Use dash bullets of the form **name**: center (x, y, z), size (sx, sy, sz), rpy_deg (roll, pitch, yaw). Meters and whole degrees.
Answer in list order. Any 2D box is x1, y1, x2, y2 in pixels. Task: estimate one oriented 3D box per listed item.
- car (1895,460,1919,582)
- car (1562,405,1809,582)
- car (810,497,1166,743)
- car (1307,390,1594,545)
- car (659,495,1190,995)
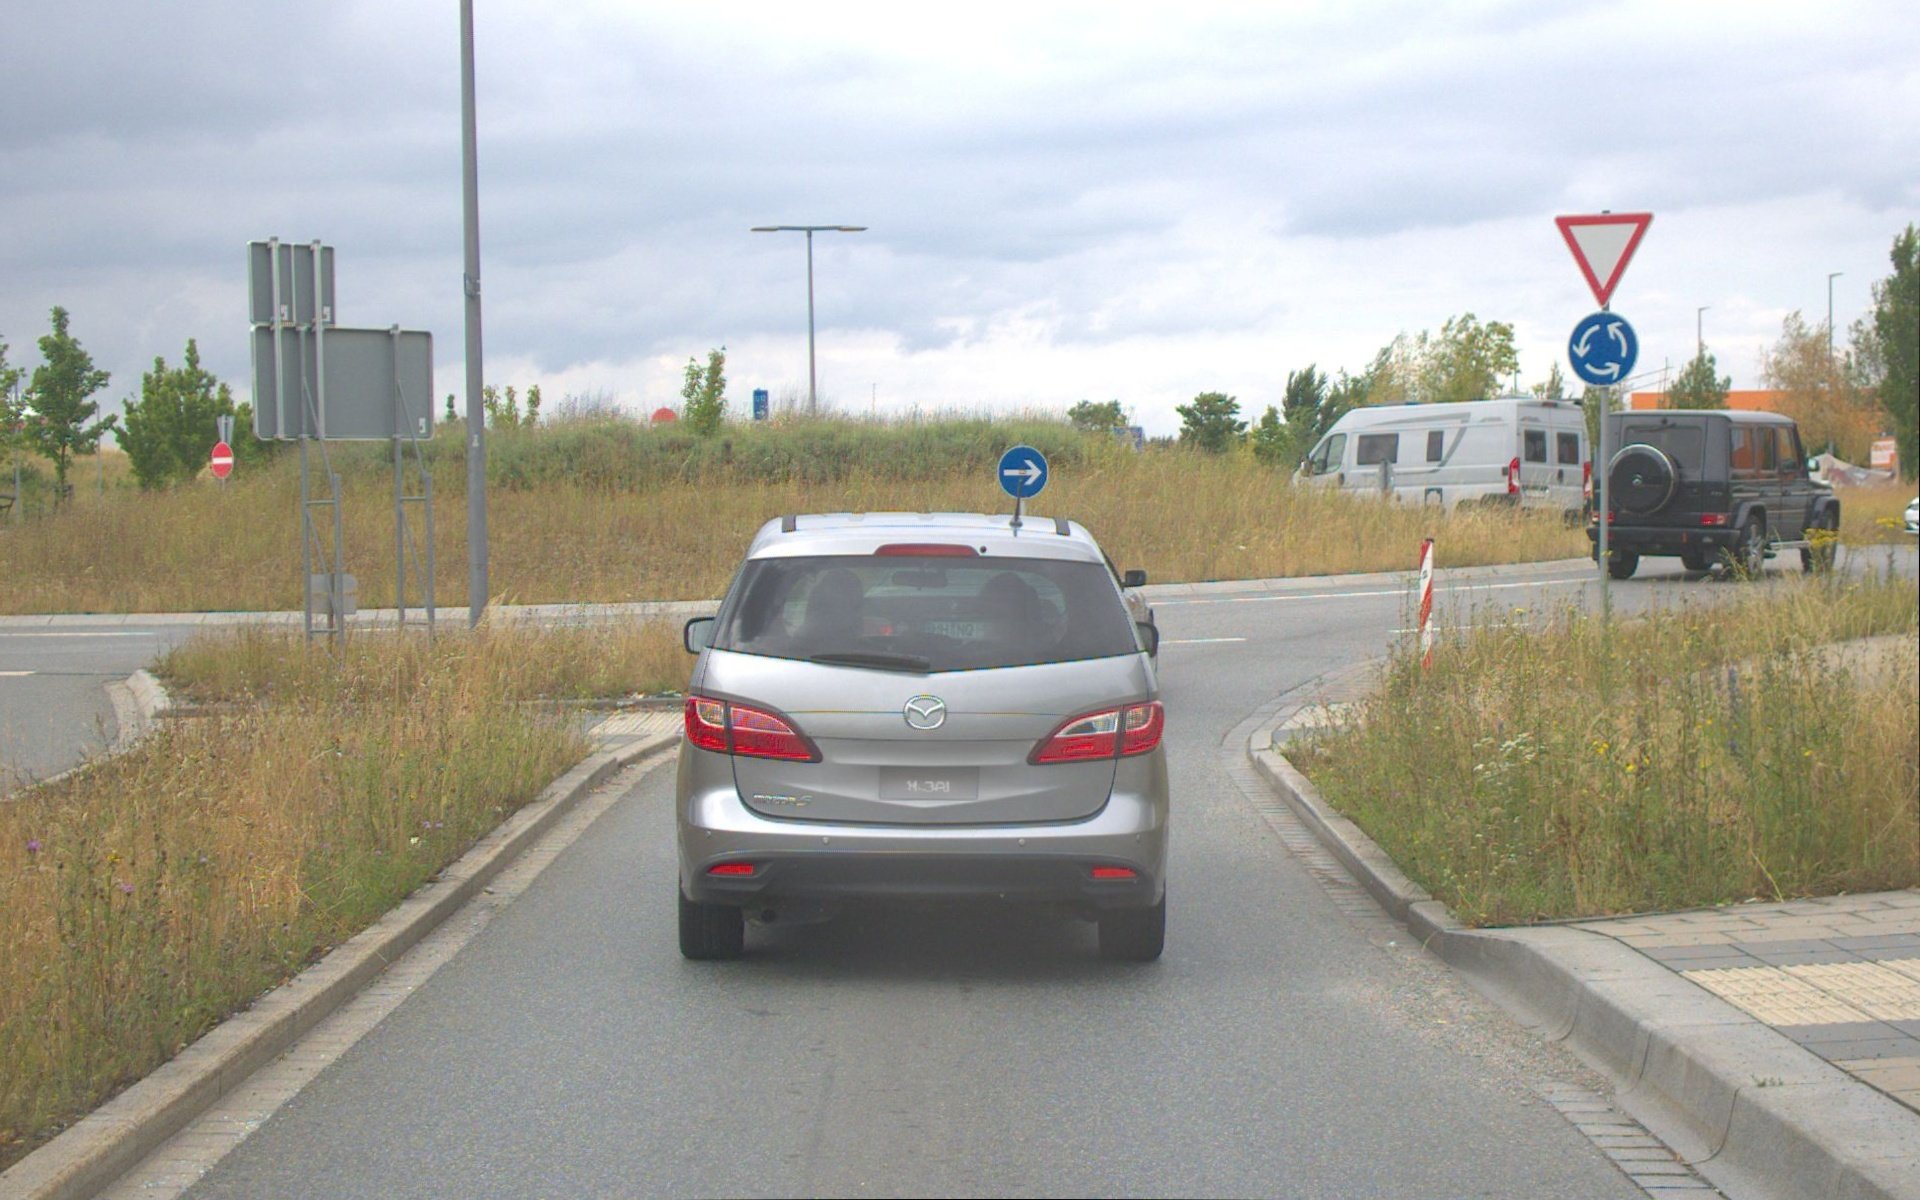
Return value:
- **car**: center (17.542, -1.323, 55.227), size (4.761, 1.880, 2.084), rpy_deg (-1, 4, 13)
- **car**: center (8.694, -1.312, 40.878), size (2.080, 1.880, 4.770), rpy_deg (0, 4, 22)
- **car**: center (0.289, 0.068, 24.449), size (1.739, 1.398, 3.996), rpy_deg (1, 4, 12)
- **car**: center (8.502, -2.327, 59.916), size (2.078, 2.535, 4.773), rpy_deg (-4, 5, -38)
- **car**: center (-0.141, 0.423, 13.396), size (1.738, 1.593, 3.998), rpy_deg (1, 2, -1)
